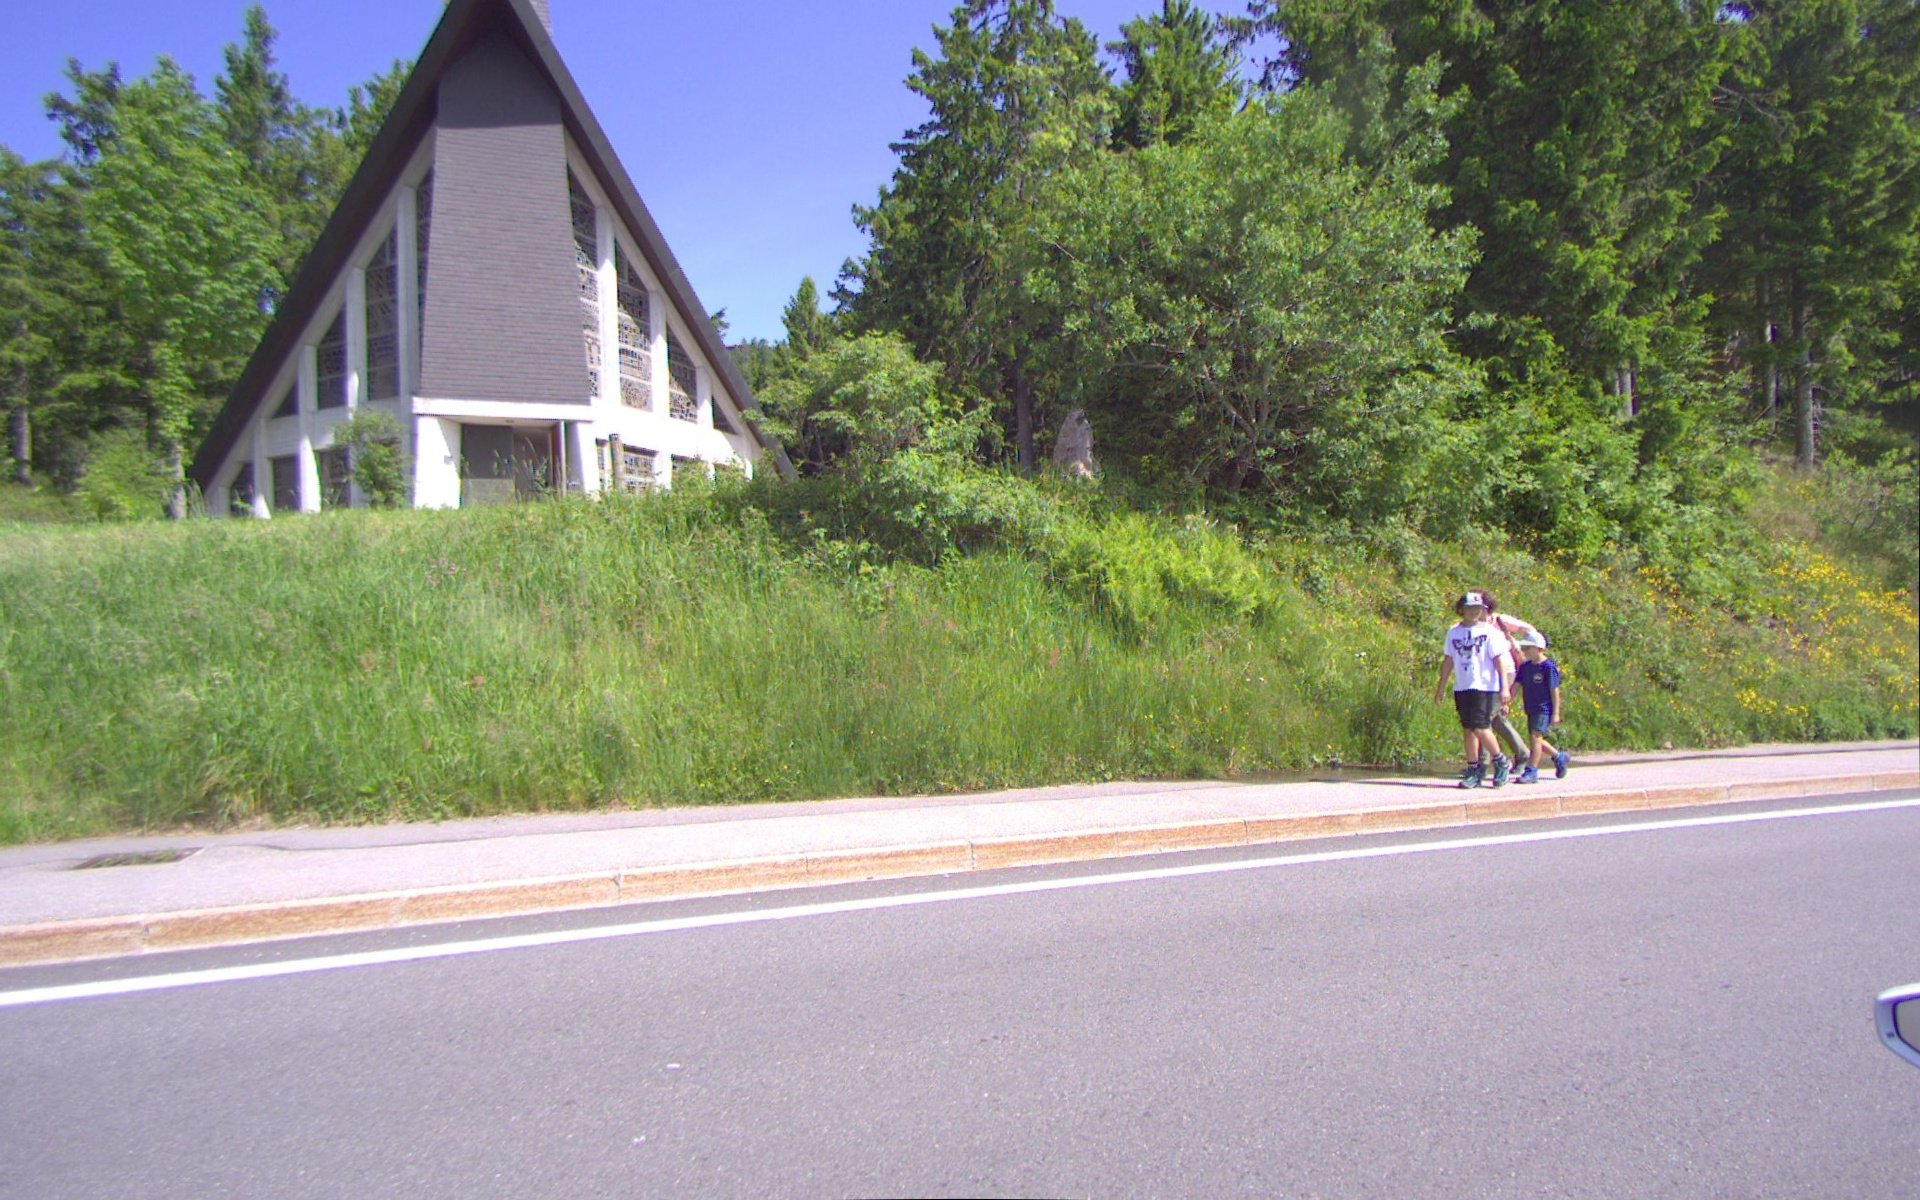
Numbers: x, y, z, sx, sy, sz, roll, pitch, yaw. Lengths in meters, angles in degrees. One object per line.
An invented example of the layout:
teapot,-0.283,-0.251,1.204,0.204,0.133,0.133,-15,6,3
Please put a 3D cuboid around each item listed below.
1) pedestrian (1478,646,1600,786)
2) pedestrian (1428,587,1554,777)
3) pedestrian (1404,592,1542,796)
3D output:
pedestrian,4.927,0.959,8.563,0.733,1.116,0.568,0,-1,-20
pedestrian,4.864,0.725,9.211,0.880,1.664,0.575,0,-1,-20
pedestrian,4.144,0.729,8.130,0.867,1.558,0.579,0,-1,-23
